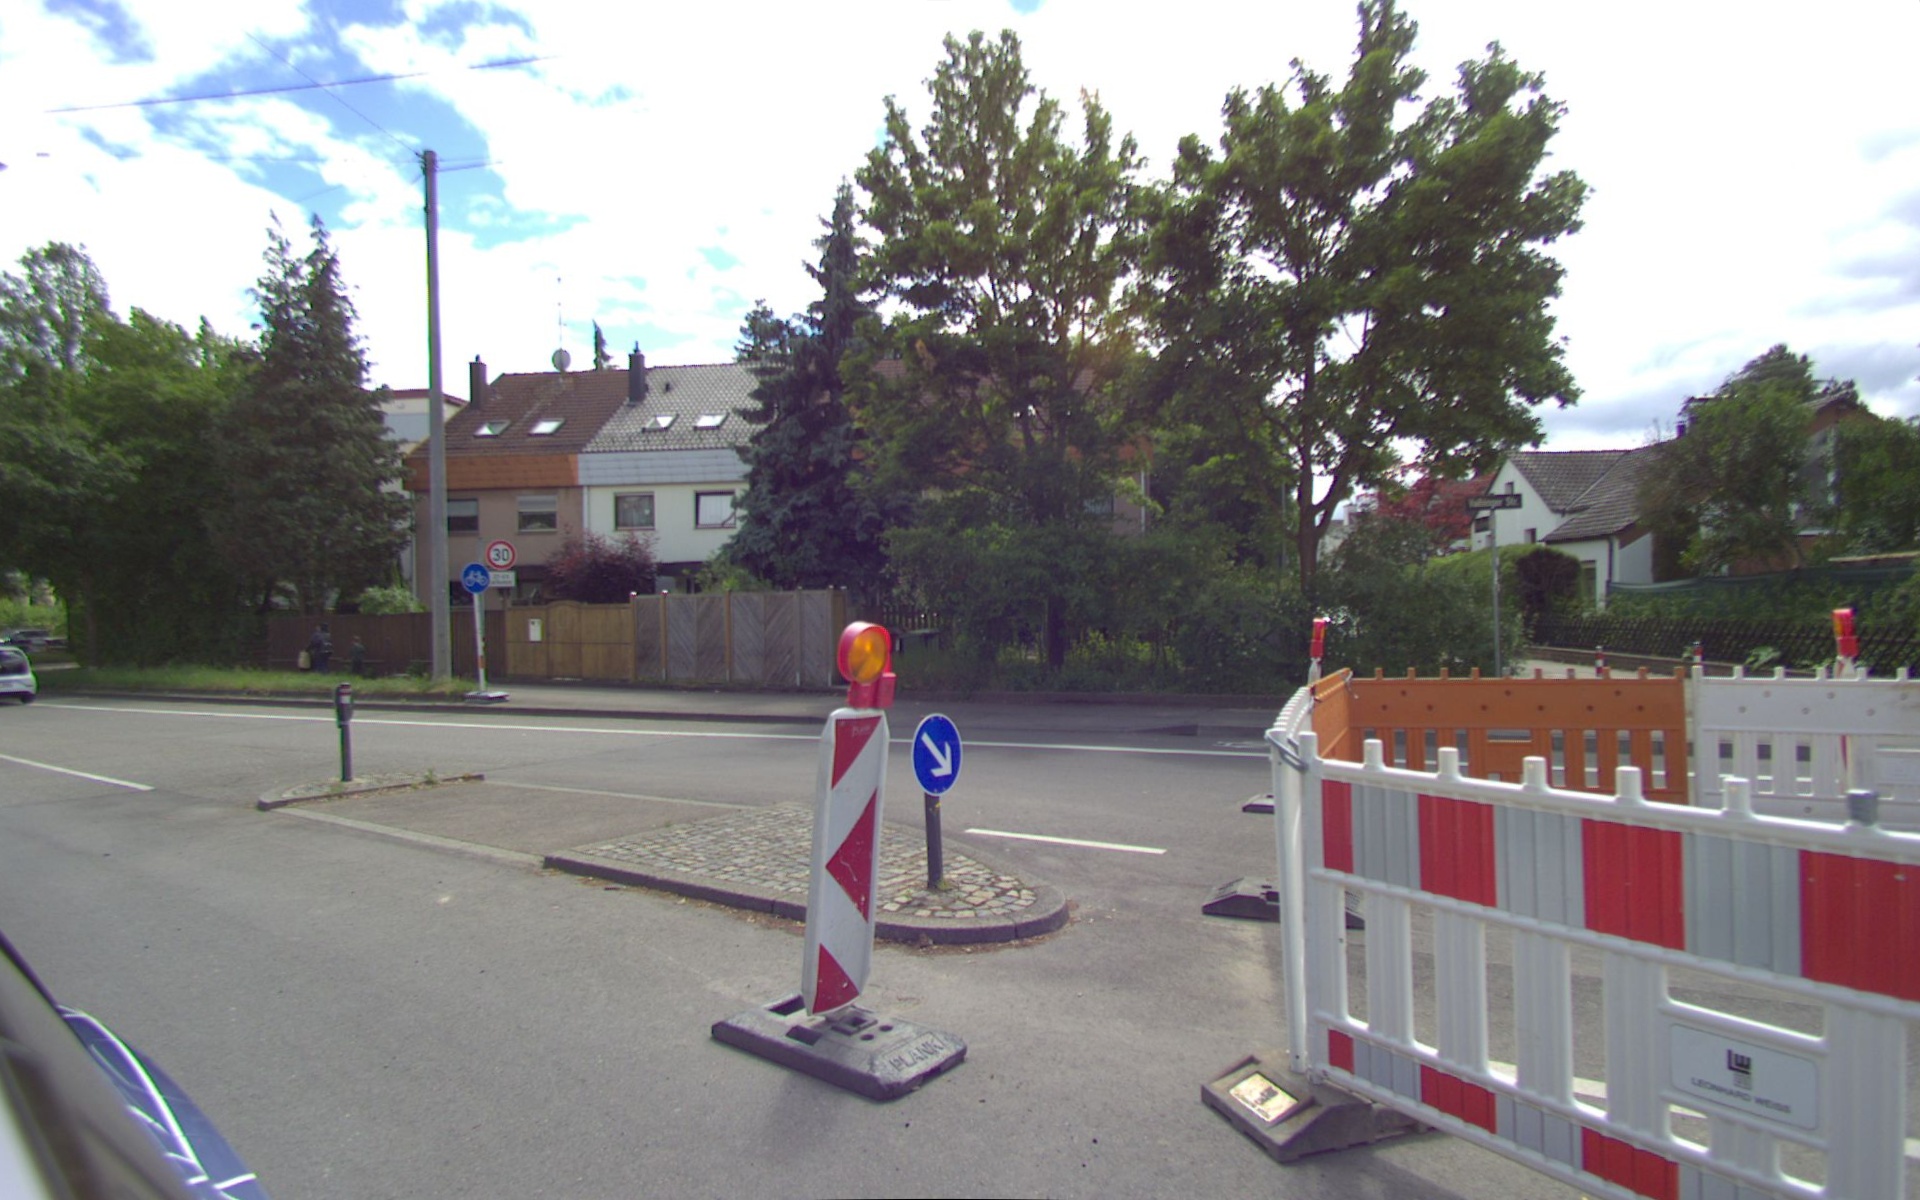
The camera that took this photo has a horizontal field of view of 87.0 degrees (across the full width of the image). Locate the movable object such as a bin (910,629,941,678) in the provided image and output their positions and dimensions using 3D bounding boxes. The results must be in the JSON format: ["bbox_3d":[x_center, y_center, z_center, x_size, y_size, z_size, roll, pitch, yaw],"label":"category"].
[{"bbox_3d":[-0.711,1.086,20.643,0.522,0.985,0.376,-1,-2,19],"label":"movable object such as a bin"}]

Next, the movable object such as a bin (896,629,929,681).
[{"bbox_3d":[-0.914,1.061,19.458,0.543,0.985,0.370,-1,-2,19],"label":"movable object such as a bin"}]

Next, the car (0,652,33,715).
[{"bbox_3d":[-25.426,2.123,25.782,3.987,1.524,1.680,-2,-2,32],"label":"car"}]

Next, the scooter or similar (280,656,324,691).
[{"bbox_3d":[-17.371,1.924,26.720,1.028,0.871,0.631,-2,-1,35],"label":"scooter or similar"}]

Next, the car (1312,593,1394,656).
[{"bbox_3d":[10.593,0.659,27.321,1.878,1.545,3.971,-2,-1,21],"label":"car"}]

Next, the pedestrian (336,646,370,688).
[{"bbox_3d":[-16.208,1.780,27.030,0.640,1.094,0.550,-2,-1,34],"label":"pedestrian"}]

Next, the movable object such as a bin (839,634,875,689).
[{"bbox_3d":[-1.939,1.153,19.079,0.493,1.019,0.472,-2,-2,31],"label":"movable object such as a bin"}]

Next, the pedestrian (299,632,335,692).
[{"bbox_3d":[-16.680,1.598,26.252,0.640,1.492,0.550,-2,-1,34],"label":"pedestrian"}]

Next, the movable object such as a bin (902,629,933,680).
[{"bbox_3d":[-0.831,1.068,19.820,0.522,0.985,0.332,-1,-2,19],"label":"movable object such as a bin"}]

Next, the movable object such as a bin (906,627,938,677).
[{"bbox_3d":[-0.761,1.028,20.211,0.522,0.985,0.376,-1,-2,19],"label":"movable object such as a bin"}]

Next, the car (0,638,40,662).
[{"bbox_3d":[-66.555,3.492,69.985,1.977,1.519,3.990,-2,0,8],"label":"car"}]
